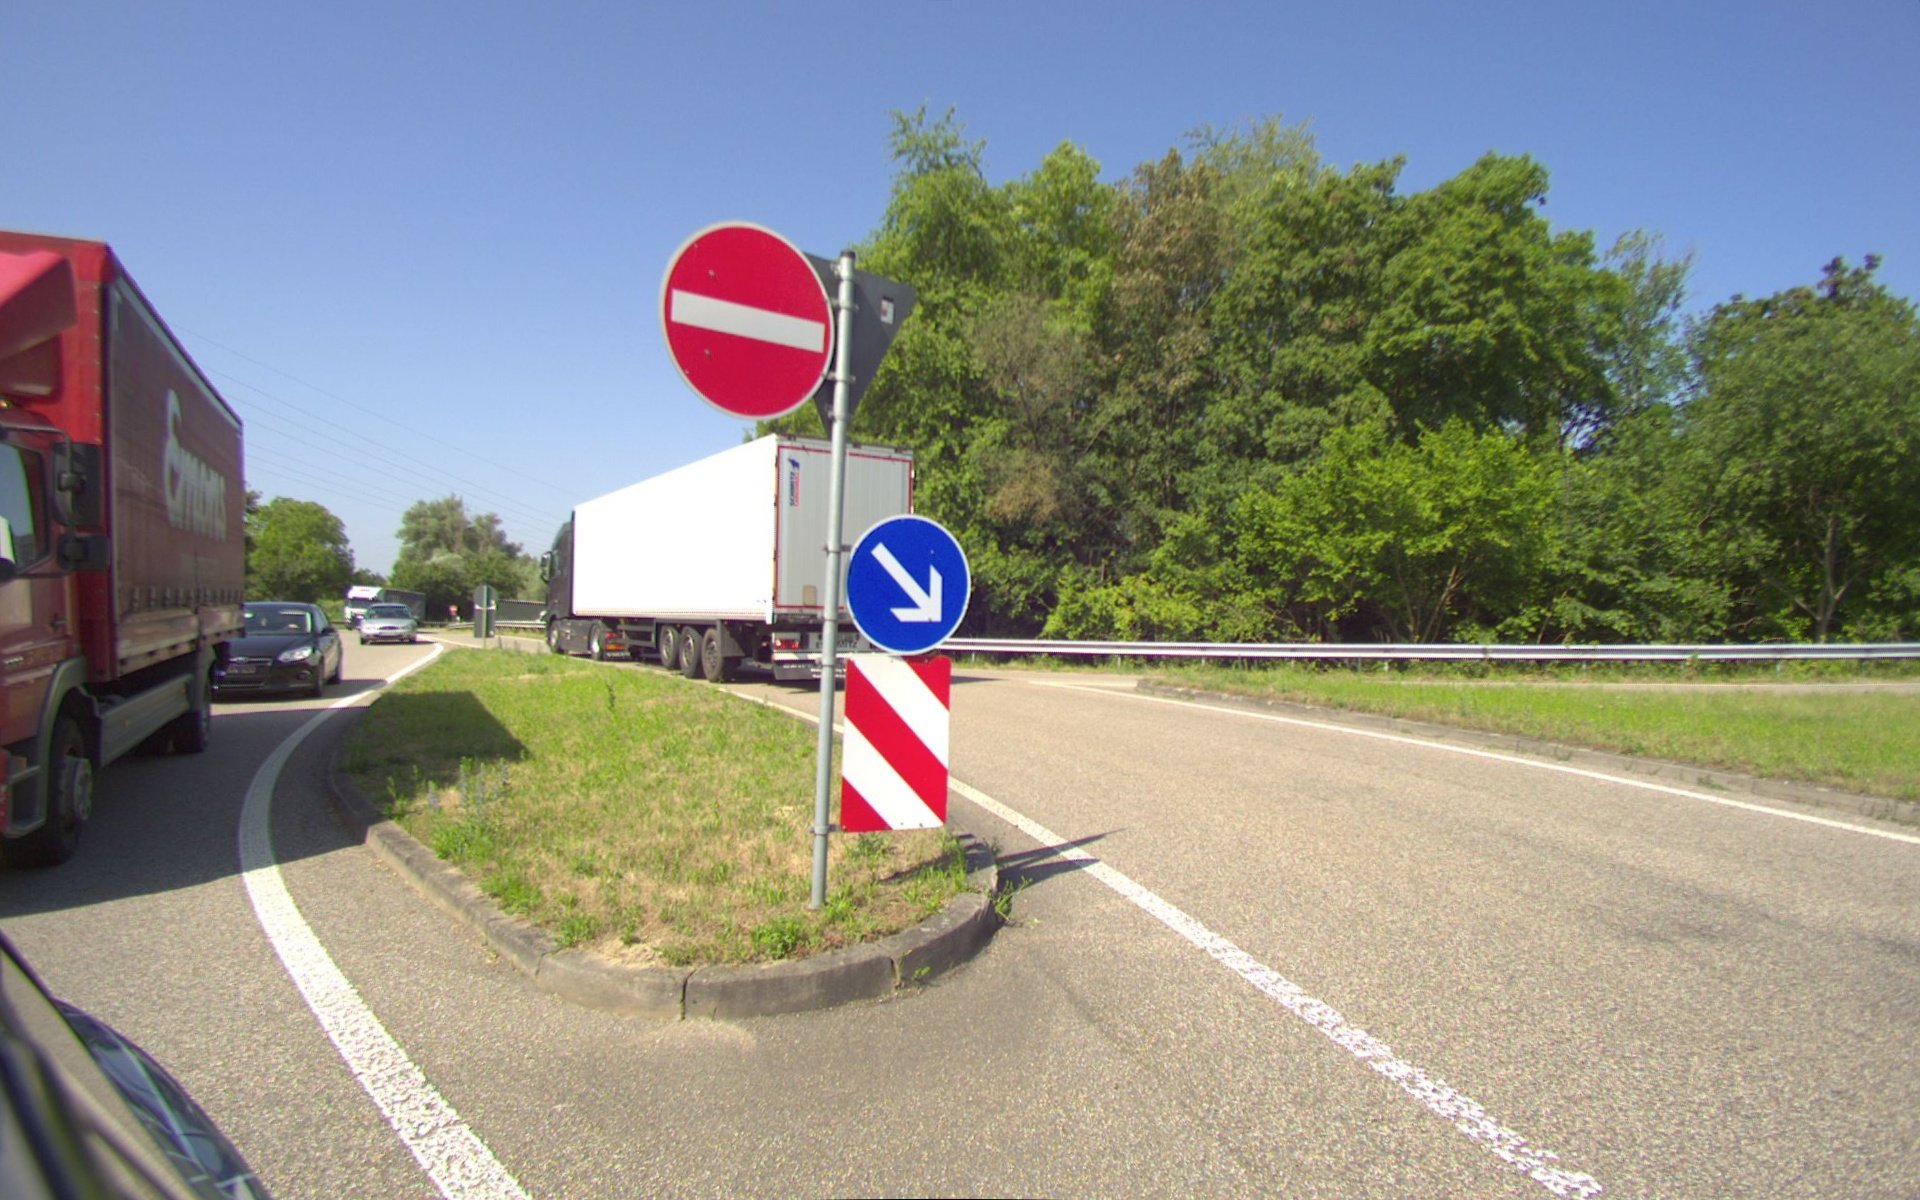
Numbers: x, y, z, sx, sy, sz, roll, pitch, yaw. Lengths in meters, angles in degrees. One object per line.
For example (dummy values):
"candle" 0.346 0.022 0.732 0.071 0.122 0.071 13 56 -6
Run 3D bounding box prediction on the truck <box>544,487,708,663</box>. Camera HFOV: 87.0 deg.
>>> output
"truck" -9.210 -0.557 27.480 2.831 4.205 5.987 0 -1 -32

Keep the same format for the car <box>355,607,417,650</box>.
"car" -20.214 0.960 35.557 1.758 1.396 4.391 0 0 -32

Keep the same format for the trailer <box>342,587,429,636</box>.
"trailer" -55.580 1.217 98.446 2.883 4.272 14.012 2 -2 -11

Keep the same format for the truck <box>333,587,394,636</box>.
"truck" -54.256 1.069 92.220 2.892 4.270 5.746 2 -2 -12

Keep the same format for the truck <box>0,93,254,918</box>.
"truck" -7.627 -0.401 7.948 2.645 3.689 9.290 0 -1 -30

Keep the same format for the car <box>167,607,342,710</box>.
"car" -11.041 0.822 16.116 1.758 1.425 4.013 0 -1 -27

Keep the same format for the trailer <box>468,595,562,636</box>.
"trailer" -51.240 1.933 117.277 2.925 4.300 13.943 2 -2 8

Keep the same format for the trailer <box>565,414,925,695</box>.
"trailer" -5.549 -0.616 21.771 2.847 4.197 14.020 0 -1 -33

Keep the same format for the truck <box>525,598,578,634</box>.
"truck" -50.013 2.012 123.999 2.916 4.279 5.700 1 -2 17
